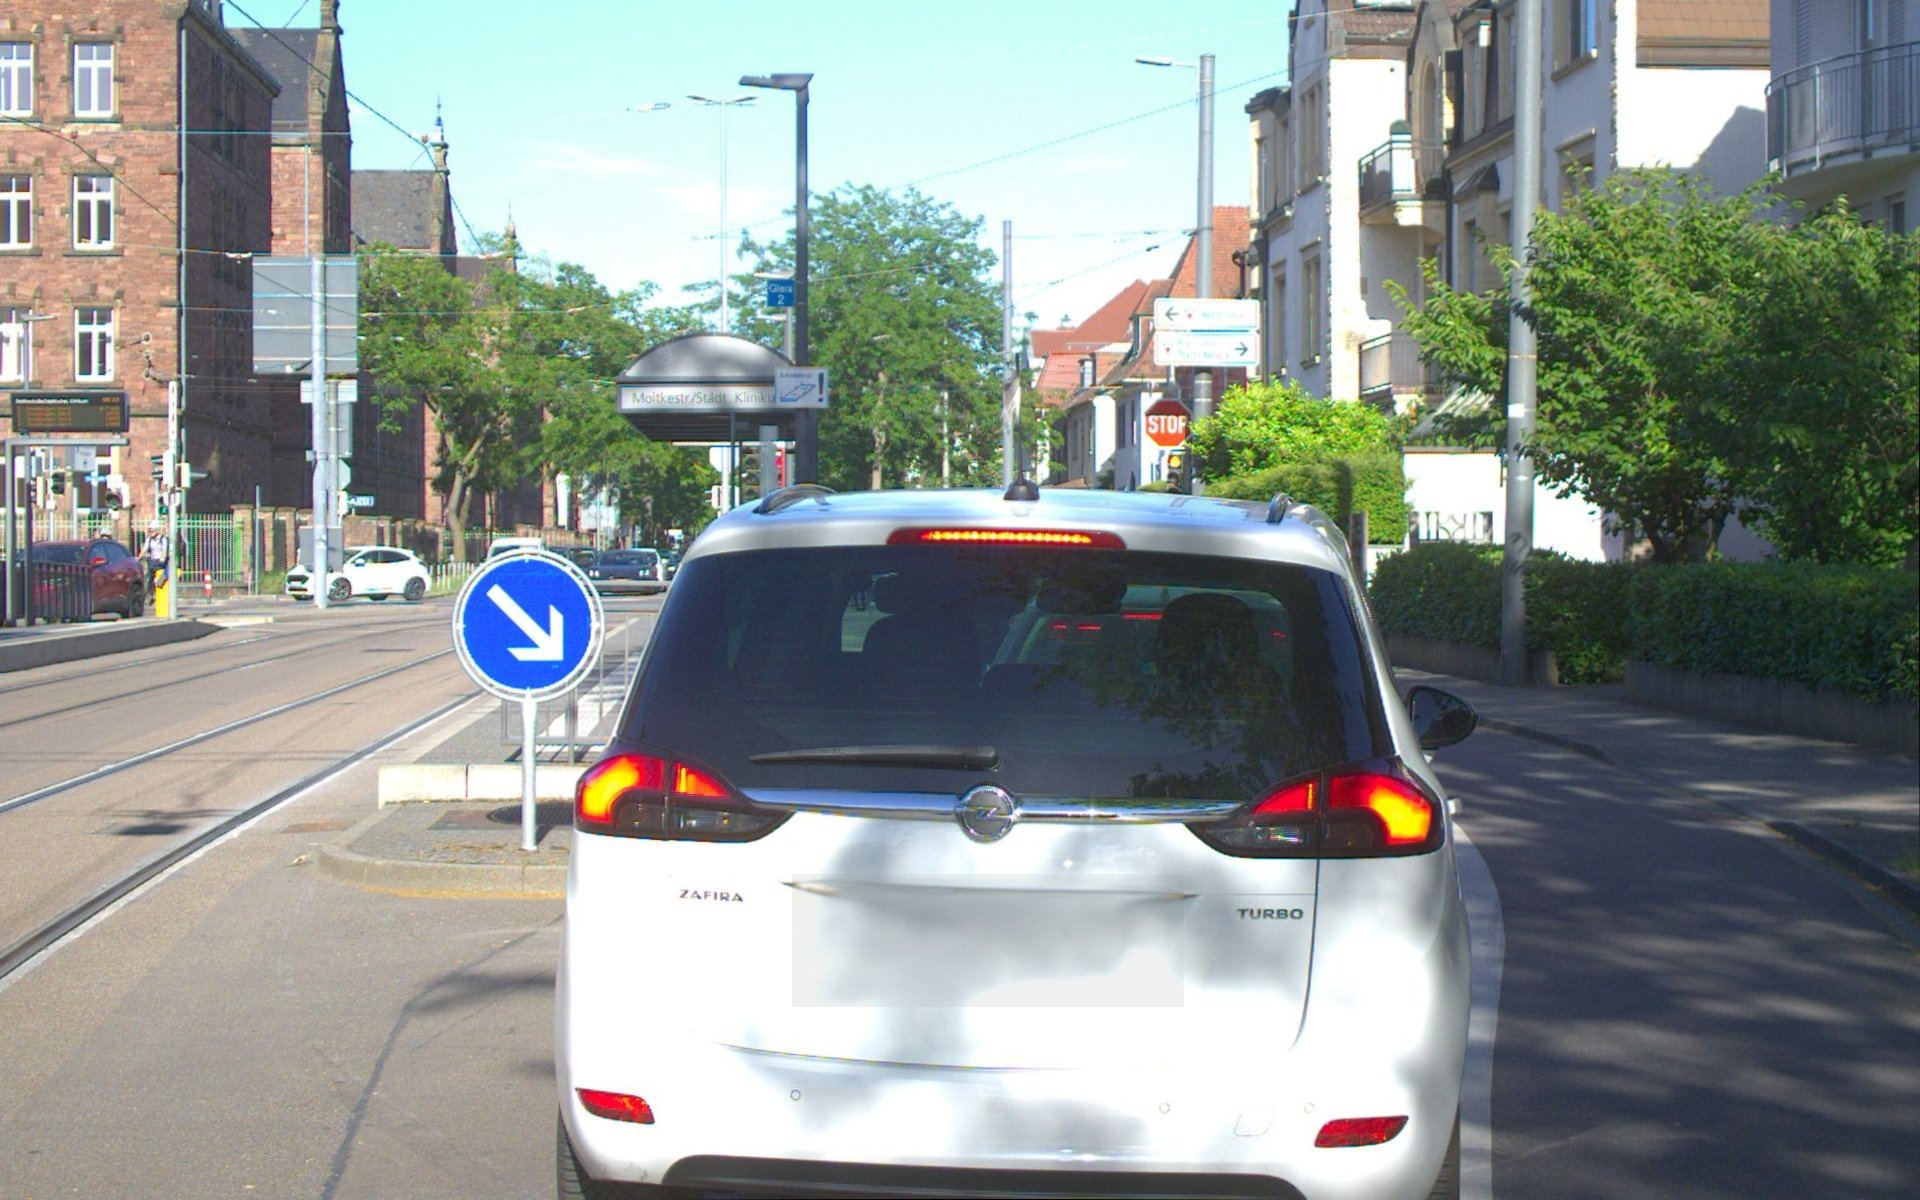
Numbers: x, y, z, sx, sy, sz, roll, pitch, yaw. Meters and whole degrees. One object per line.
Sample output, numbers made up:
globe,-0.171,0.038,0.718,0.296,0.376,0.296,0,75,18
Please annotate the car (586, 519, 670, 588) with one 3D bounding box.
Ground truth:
car,-9.922,-1.409,103.003,1.993,2.007,4.000,0,1,2

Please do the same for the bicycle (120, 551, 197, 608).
bicycle,-17.667,-0.458,75.825,0.777,1.226,2.087,0,1,15

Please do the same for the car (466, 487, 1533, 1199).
car,0.228,0.565,8.093,1.878,1.579,3.999,1,1,5

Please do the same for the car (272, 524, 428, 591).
car,-16.764,-1.187,94.607,1.703,1.803,3.990,1,1,44

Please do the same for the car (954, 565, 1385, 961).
car,0.947,0.590,14.787,1.569,1.396,3.783,2,1,5

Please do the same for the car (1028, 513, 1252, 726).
car,1.464,0.120,29.170,1.596,1.629,3.901,2,1,-1

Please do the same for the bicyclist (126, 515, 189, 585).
bicyclist,-17.682,-1.106,75.783,0.761,1.531,1.347,0,1,16

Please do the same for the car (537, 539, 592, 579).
car,-14.826,-1.531,128.924,1.826,1.441,4.328,1,0,-4

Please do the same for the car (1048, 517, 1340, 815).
car,1.466,0.331,21.035,1.569,1.609,3.783,2,1,5

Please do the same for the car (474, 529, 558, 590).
car,-13.254,-1.238,102.787,1.827,1.782,4.255,0,1,2

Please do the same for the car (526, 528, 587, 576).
car,-14.150,-1.660,120.697,1.827,1.611,4.328,1,0,-3

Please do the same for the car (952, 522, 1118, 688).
car,0.763,0.020,37.044,1.596,1.629,3.901,2,1,-1

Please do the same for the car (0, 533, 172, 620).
car,-16.695,-0.476,65.817,1.818,1.601,4.358,0,1,6
